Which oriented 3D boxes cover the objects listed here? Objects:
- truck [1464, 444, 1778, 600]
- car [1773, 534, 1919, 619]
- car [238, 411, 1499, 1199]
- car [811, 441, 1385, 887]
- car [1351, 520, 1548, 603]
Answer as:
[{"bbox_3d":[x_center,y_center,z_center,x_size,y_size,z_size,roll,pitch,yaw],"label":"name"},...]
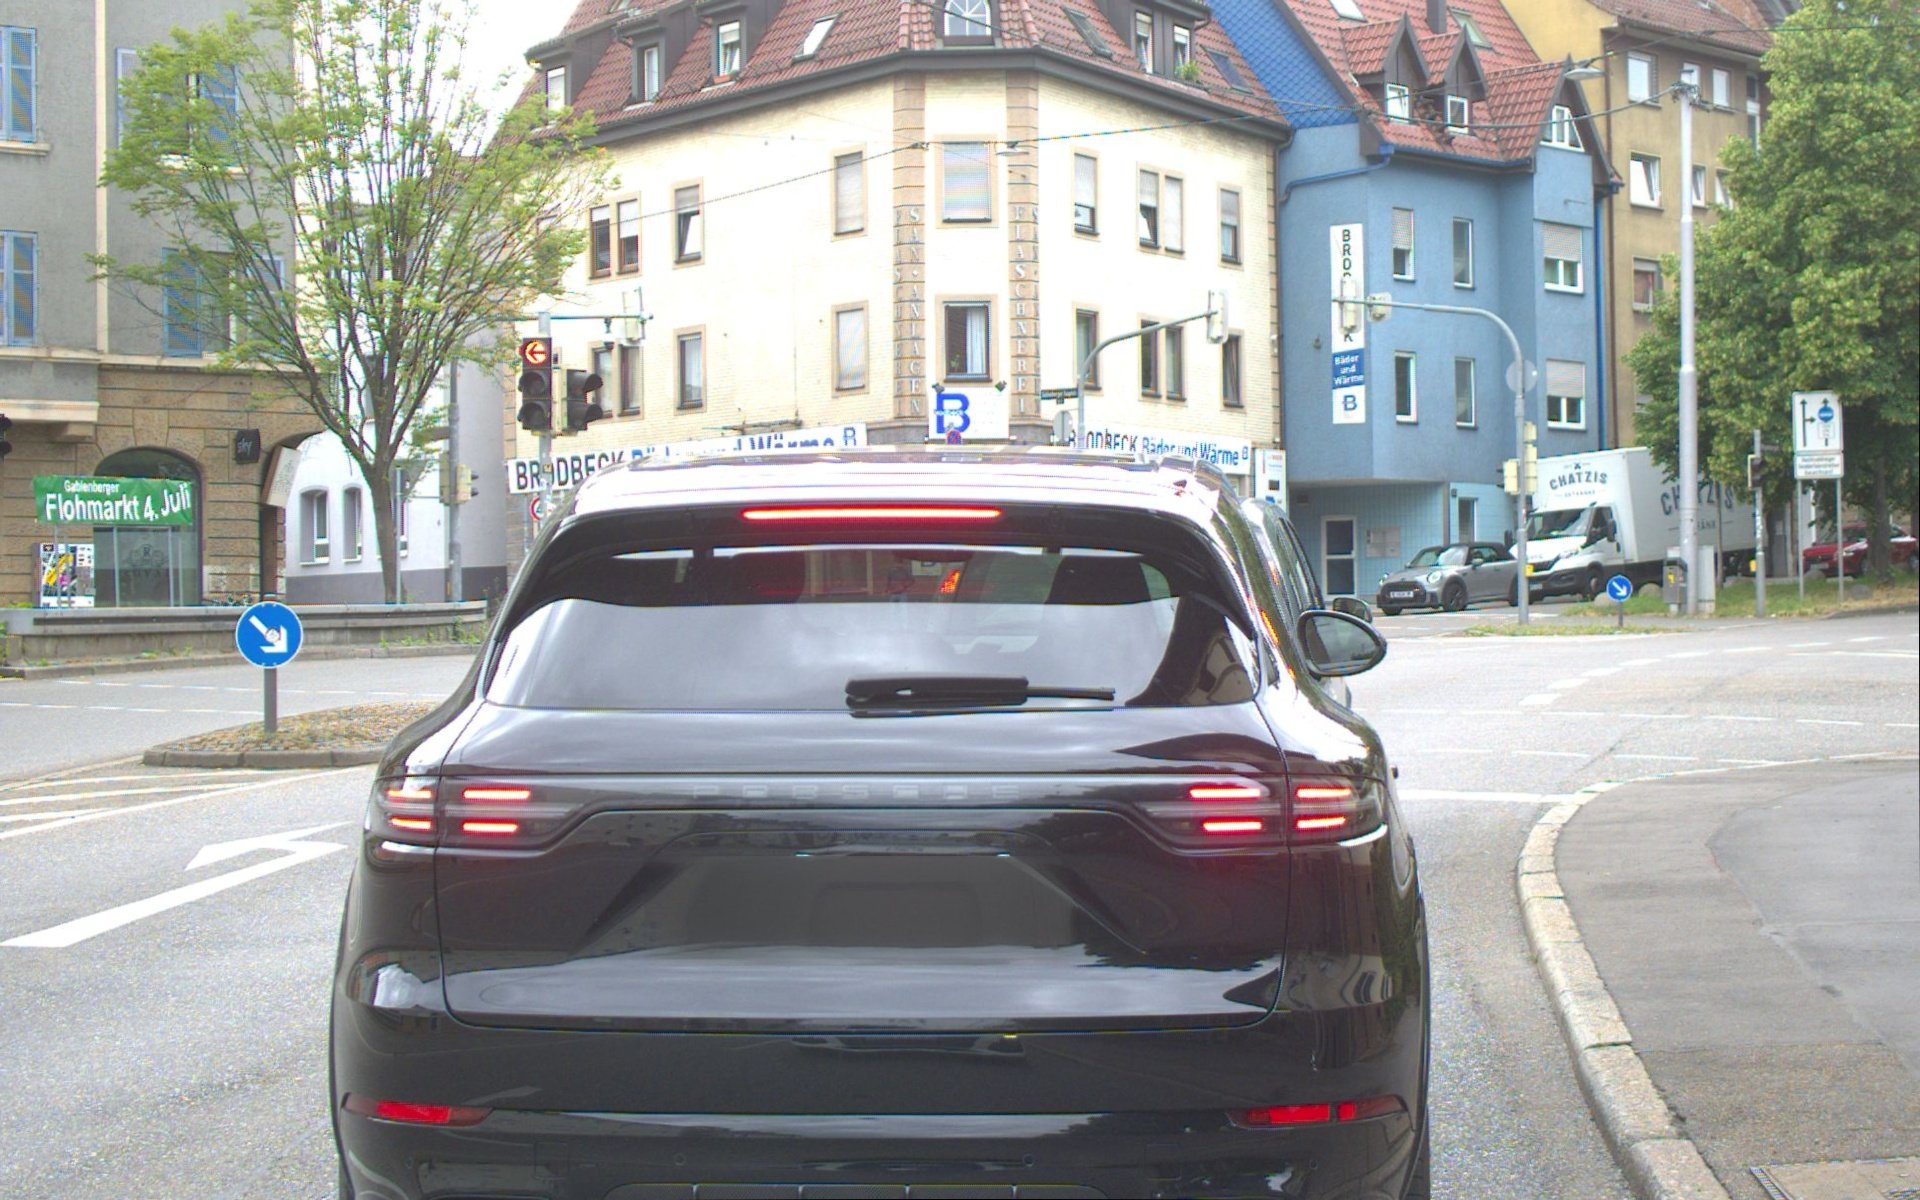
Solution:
[{"bbox_3d":[15.202,-1.727,78.524,2.880,3.328,8.772,2,1,41],"label":"truck"},{"bbox_3d":[22.315,-0.587,86.162,1.999,2.007,3.990,2,1,43],"label":"car"},{"bbox_3d":[-0.251,0.488,7.407,1.978,1.678,4.001,0,2,-3],"label":"car"},{"bbox_3d":[0.753,0.215,15.063,1.994,1.678,3.998,0,1,10],"label":"car"},{"bbox_3d":[10.245,-0.812,71.816,3.989,1.678,1.999,-1,1,-42],"label":"car"}]
